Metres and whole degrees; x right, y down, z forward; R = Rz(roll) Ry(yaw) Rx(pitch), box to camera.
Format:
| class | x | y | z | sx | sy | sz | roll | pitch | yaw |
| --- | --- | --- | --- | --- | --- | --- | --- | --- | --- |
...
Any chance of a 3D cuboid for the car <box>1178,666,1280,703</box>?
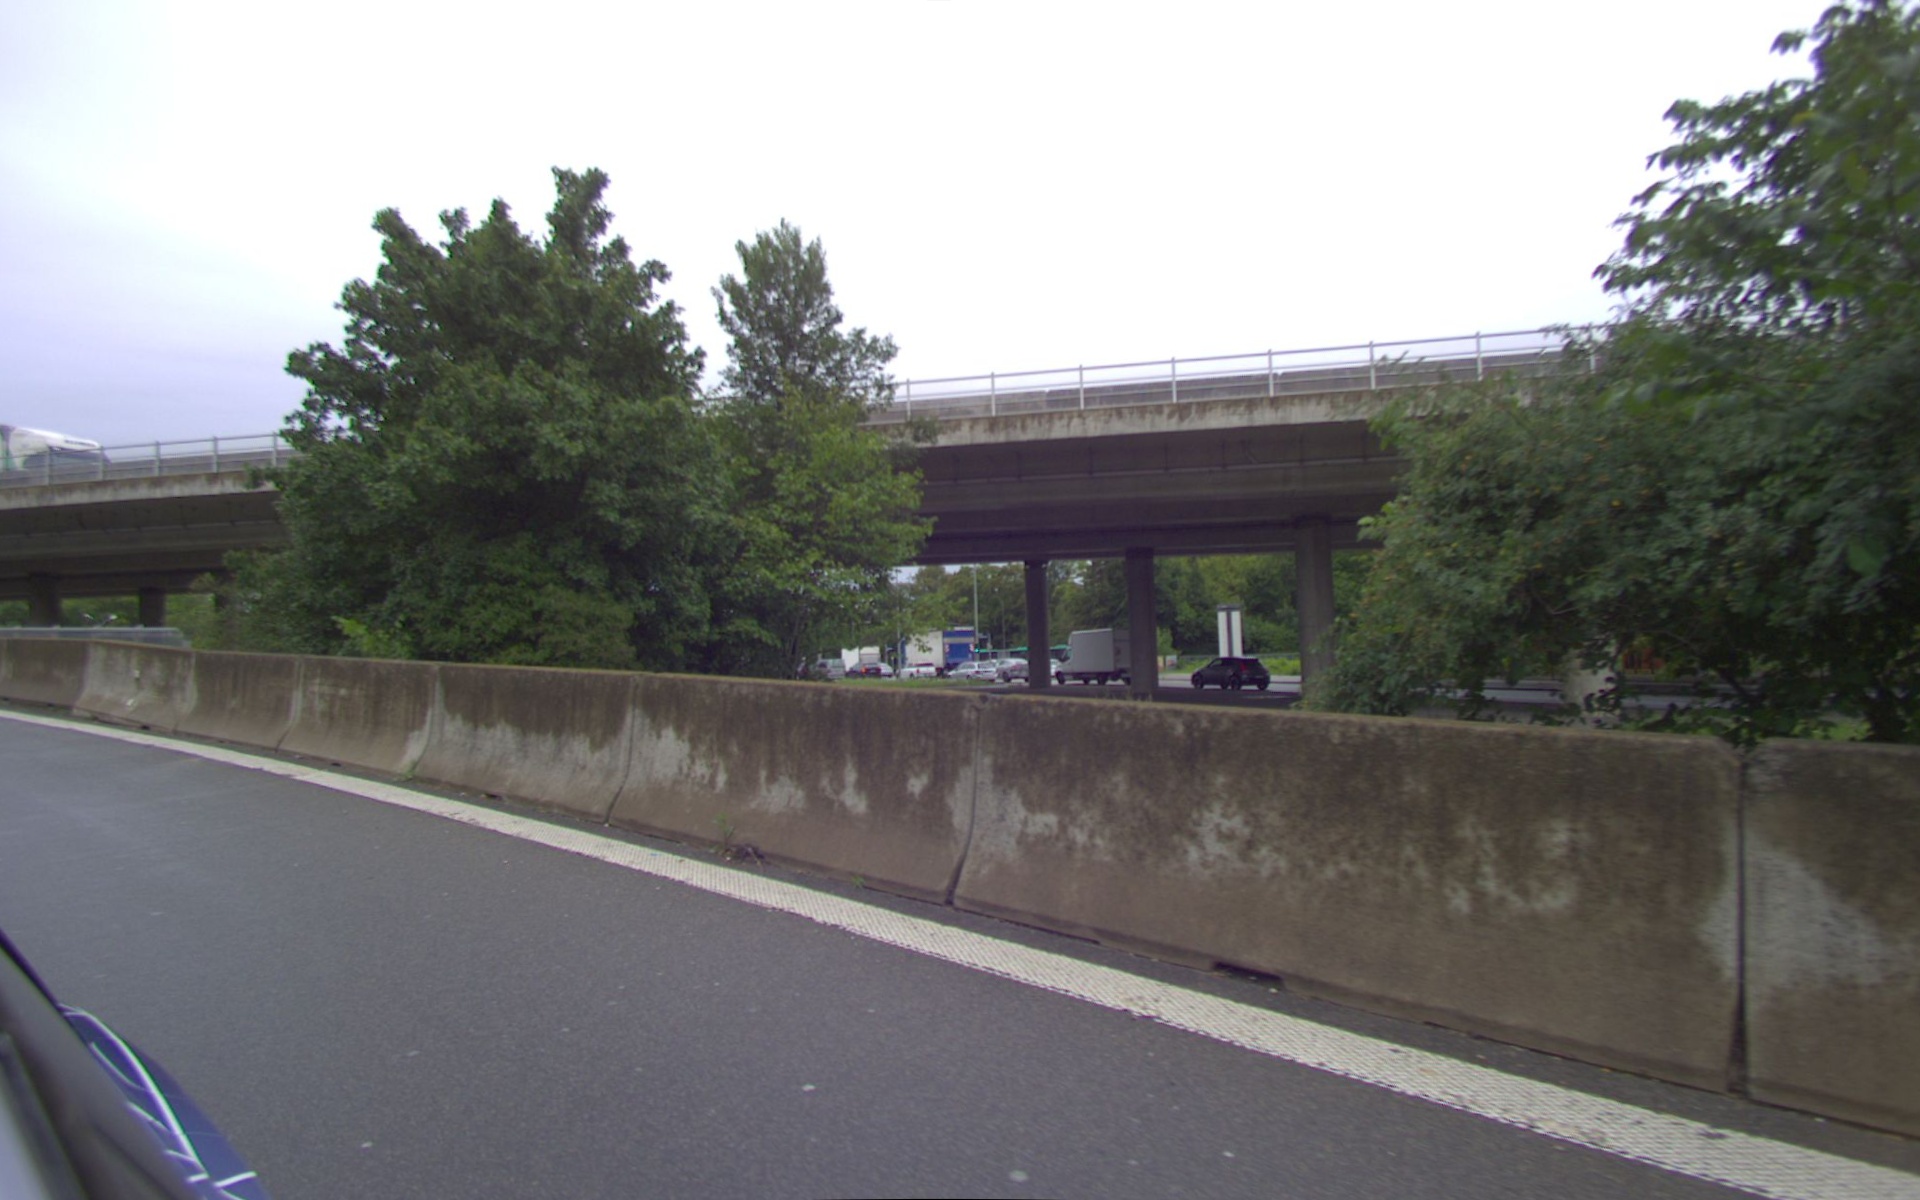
| class | x | y | z | sx | sy | sz | roll | pitch | yaw |
| --- | --- | --- | --- | --- | --- | --- | --- | --- | --- |
| car | 12.282 | 3.849 | 46.511 | 1.941 | 1.595 | 4.605 | 3 | -4 | -27 |

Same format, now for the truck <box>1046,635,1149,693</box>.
| class | x | y | z | sx | sy | sz | roll | pitch | yaw |
| --- | --- | --- | --- | --- | --- | --- | --- | --- | --- |
| truck | 7.537 | 3.620 | 56.719 | 2.221 | 3.000 | 7.256 | 2 | -5 | -24 |

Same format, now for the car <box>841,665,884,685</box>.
| class | x | y | z | sx | sy | sz | roll | pitch | yaw |
| --- | --- | --- | --- | --- | --- | --- | --- | --- | --- |
| car | -8.040 | 6.159 | 83.217 | 1.941 | 1.595 | 4.605 | 3 | -4 | -27 |

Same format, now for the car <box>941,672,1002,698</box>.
| class | x | y | z | sx | sy | sz | roll | pitch | yaw |
| --- | --- | --- | --- | --- | --- | --- | --- | --- | --- |
| car | 0.691 | 5.424 | 64.858 | 1.941 | 1.595 | 4.605 | 3 | -4 | -27 |

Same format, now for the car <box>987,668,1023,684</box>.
| class | x | y | z | sx | sy | sz | roll | pitch | yaw |
| --- | --- | --- | --- | --- | --- | --- | --- | --- | --- |
| car | 5.073 | 8.522 | 113.041 | 3.948 | 1.719 | 1.796 | 0 | -5 | 4 |

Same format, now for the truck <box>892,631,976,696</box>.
| class | x | y | z | sx | sy | sz | roll | pitch | yaw |
| --- | --- | --- | --- | --- | --- | --- | --- | --- | --- |
| truck | -2.152 | 4.886 | 77.688 | 2.751 | 4.627 | 9.632 | 2 | -4 | -25 |

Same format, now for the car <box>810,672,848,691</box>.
| class | x | y | z | sx | sy | sz | roll | pitch | yaw |
| --- | --- | --- | --- | --- | --- | --- | --- | --- | --- |
| car | -11.815 | 7.300 | 90.945 | 1.941 | 1.618 | 4.605 | 3 | -4 | -27 |

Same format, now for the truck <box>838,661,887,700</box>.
| class | x | y | z | sx | sy | sz | roll | pitch | yaw |
| --- | --- | --- | --- | --- | --- | --- | --- | --- | --- |
| truck | -9.736 | 7.967 | 100.253 | 2.751 | 3.708 | 6.665 | 2 | -4 | -25 |

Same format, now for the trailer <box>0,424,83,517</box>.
| class | x | y | z | sx | sy | sz | roll | pitch | yaw |
| --- | --- | --- | --- | --- | --- | --- | --- | --- | --- |
| trailer | -45.145 | -5.281 | 44.009 | 13.910 | 3.323 | 2.657 | -2 | -2 | 11 |

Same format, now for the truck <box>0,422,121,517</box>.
| class | x | y | z | sx | sy | sz | roll | pitch | yaw |
| --- | --- | --- | --- | --- | --- | --- | --- | --- | --- |
| truck | -38.898 | -5.434 | 42.812 | 5.138 | 3.271 | 2.588 | -2 | -2 | 11 |

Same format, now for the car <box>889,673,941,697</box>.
| class | x | y | z | sx | sy | sz | roll | pitch | yaw |
| --- | --- | --- | --- | --- | --- | --- | --- | --- | --- |
| car | -3.292 | 6.139 | 73.293 | 1.941 | 1.595 | 4.605 | 3 | -4 | -27 |

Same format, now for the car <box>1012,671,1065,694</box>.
| class | x | y | z | sx | sy | sz | roll | pitch | yaw |
| --- | --- | --- | --- | --- | --- | --- | --- | --- | --- |
| car | 5.754 | 6.061 | 74.650 | 1.941 | 1.595 | 4.605 | 2 | -4 | -25 |

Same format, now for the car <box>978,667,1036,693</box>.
| class | x | y | z | sx | sy | sz | roll | pitch | yaw |
| --- | --- | --- | --- | --- | --- | --- | --- | --- | --- |
| car | 3.036 | 5.233 | 66.380 | 1.941 | 1.595 | 4.605 | 2 | -4 | -25 |
